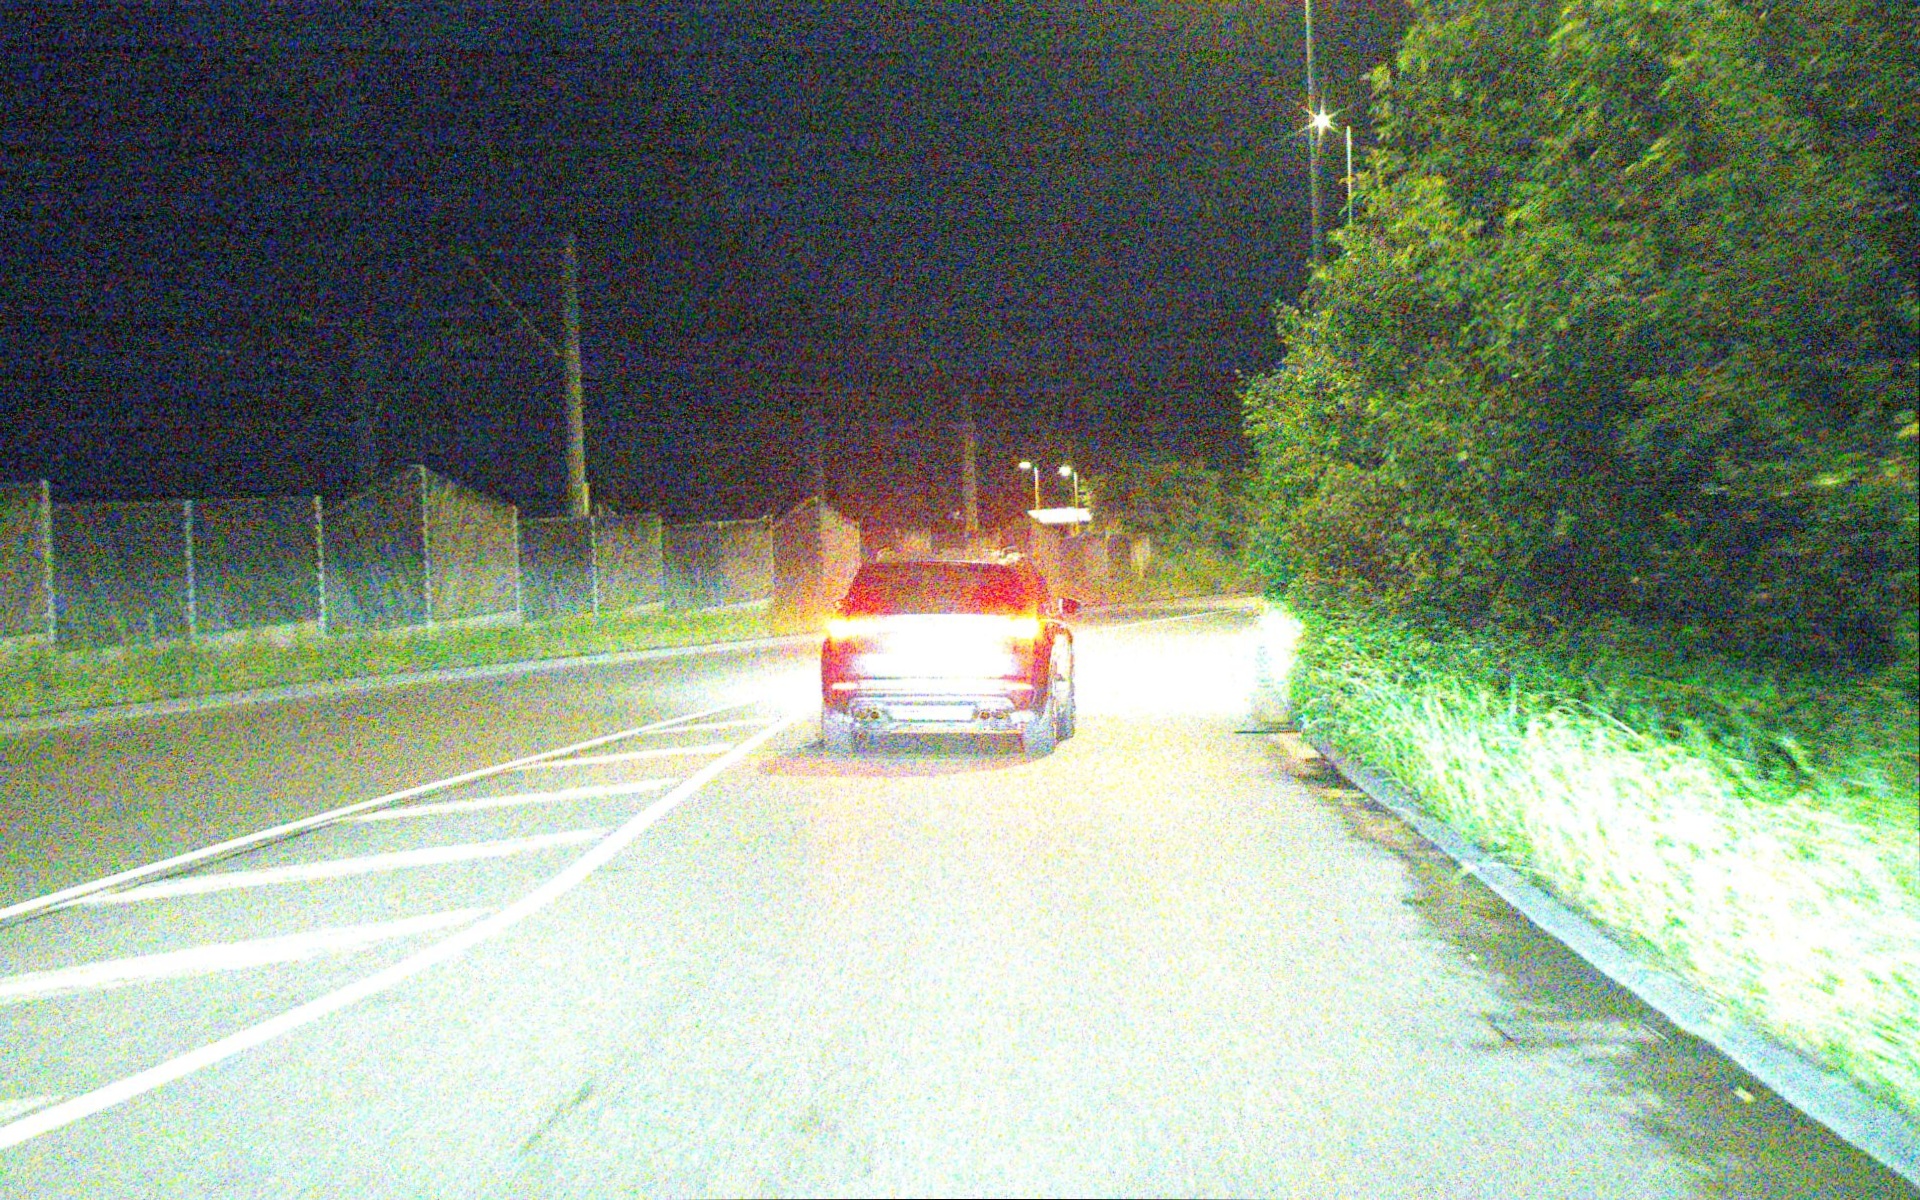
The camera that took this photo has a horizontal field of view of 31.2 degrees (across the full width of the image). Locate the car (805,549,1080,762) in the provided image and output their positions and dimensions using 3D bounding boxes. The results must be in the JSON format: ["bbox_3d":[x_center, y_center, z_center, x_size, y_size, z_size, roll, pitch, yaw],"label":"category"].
[{"bbox_3d":[-0.067,0.386,27.645,1.815,1.568,3.943,1,1,6],"label":"car"}]
